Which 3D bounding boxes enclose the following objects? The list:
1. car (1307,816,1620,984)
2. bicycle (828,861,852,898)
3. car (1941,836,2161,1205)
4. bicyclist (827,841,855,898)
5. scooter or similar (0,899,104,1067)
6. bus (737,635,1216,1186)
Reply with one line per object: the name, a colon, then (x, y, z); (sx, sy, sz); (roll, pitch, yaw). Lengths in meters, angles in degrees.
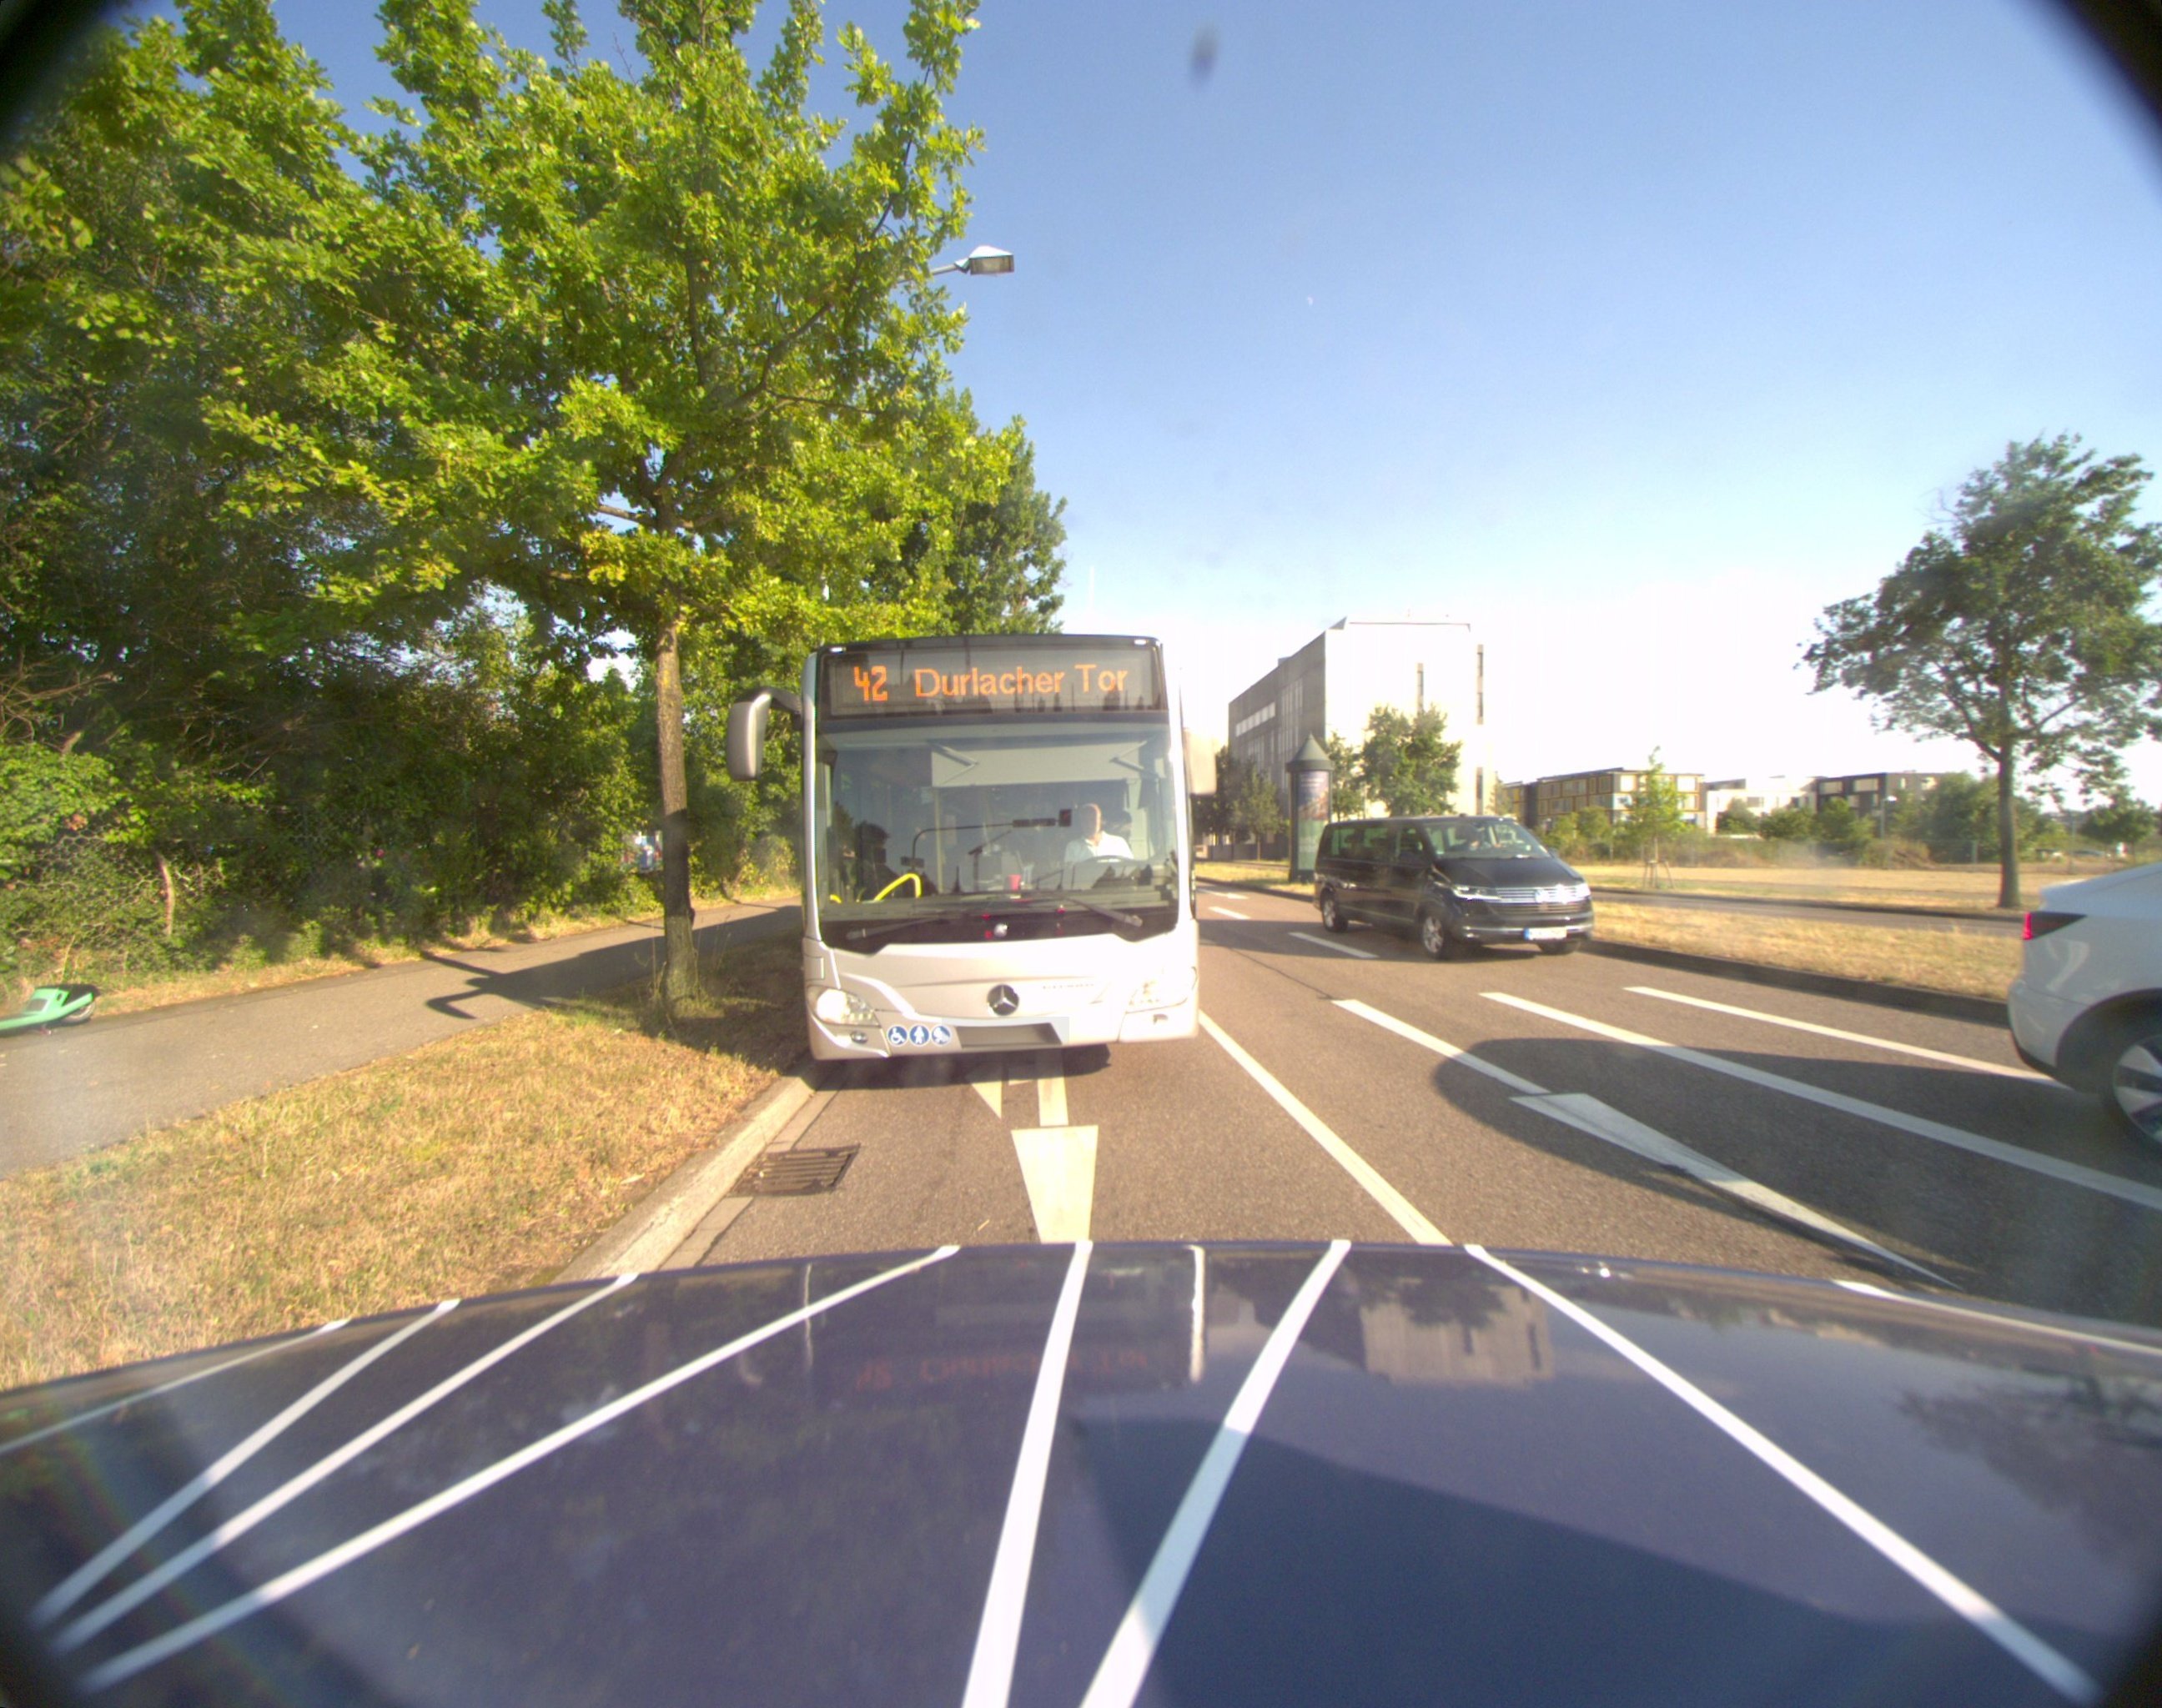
car: (5.268, 0.512, 11.446); (1.861, 1.921, 5.010); (-2, 1, -4)
bicycle: (-7.929, 0.827, 25.032); (0.416, 1.151, 1.889); (2, 0, -8)
car: (5.664, 0.719, 1.824); (1.740, 1.590, 4.675); (-2, 0, -4)
bicyclist: (-7.913, 0.491, 25.074); (0.621, 1.819, 0.829); (4, 1, -6)
scooter or similar: (-7.556, 0.908, 5.219); (0.249, 1.120, 1.095); (2, 1, 1)
bus: (-0.900, 0.273, 10.119); (2.595, 3.025, 11.715); (-1, 0, -3)
